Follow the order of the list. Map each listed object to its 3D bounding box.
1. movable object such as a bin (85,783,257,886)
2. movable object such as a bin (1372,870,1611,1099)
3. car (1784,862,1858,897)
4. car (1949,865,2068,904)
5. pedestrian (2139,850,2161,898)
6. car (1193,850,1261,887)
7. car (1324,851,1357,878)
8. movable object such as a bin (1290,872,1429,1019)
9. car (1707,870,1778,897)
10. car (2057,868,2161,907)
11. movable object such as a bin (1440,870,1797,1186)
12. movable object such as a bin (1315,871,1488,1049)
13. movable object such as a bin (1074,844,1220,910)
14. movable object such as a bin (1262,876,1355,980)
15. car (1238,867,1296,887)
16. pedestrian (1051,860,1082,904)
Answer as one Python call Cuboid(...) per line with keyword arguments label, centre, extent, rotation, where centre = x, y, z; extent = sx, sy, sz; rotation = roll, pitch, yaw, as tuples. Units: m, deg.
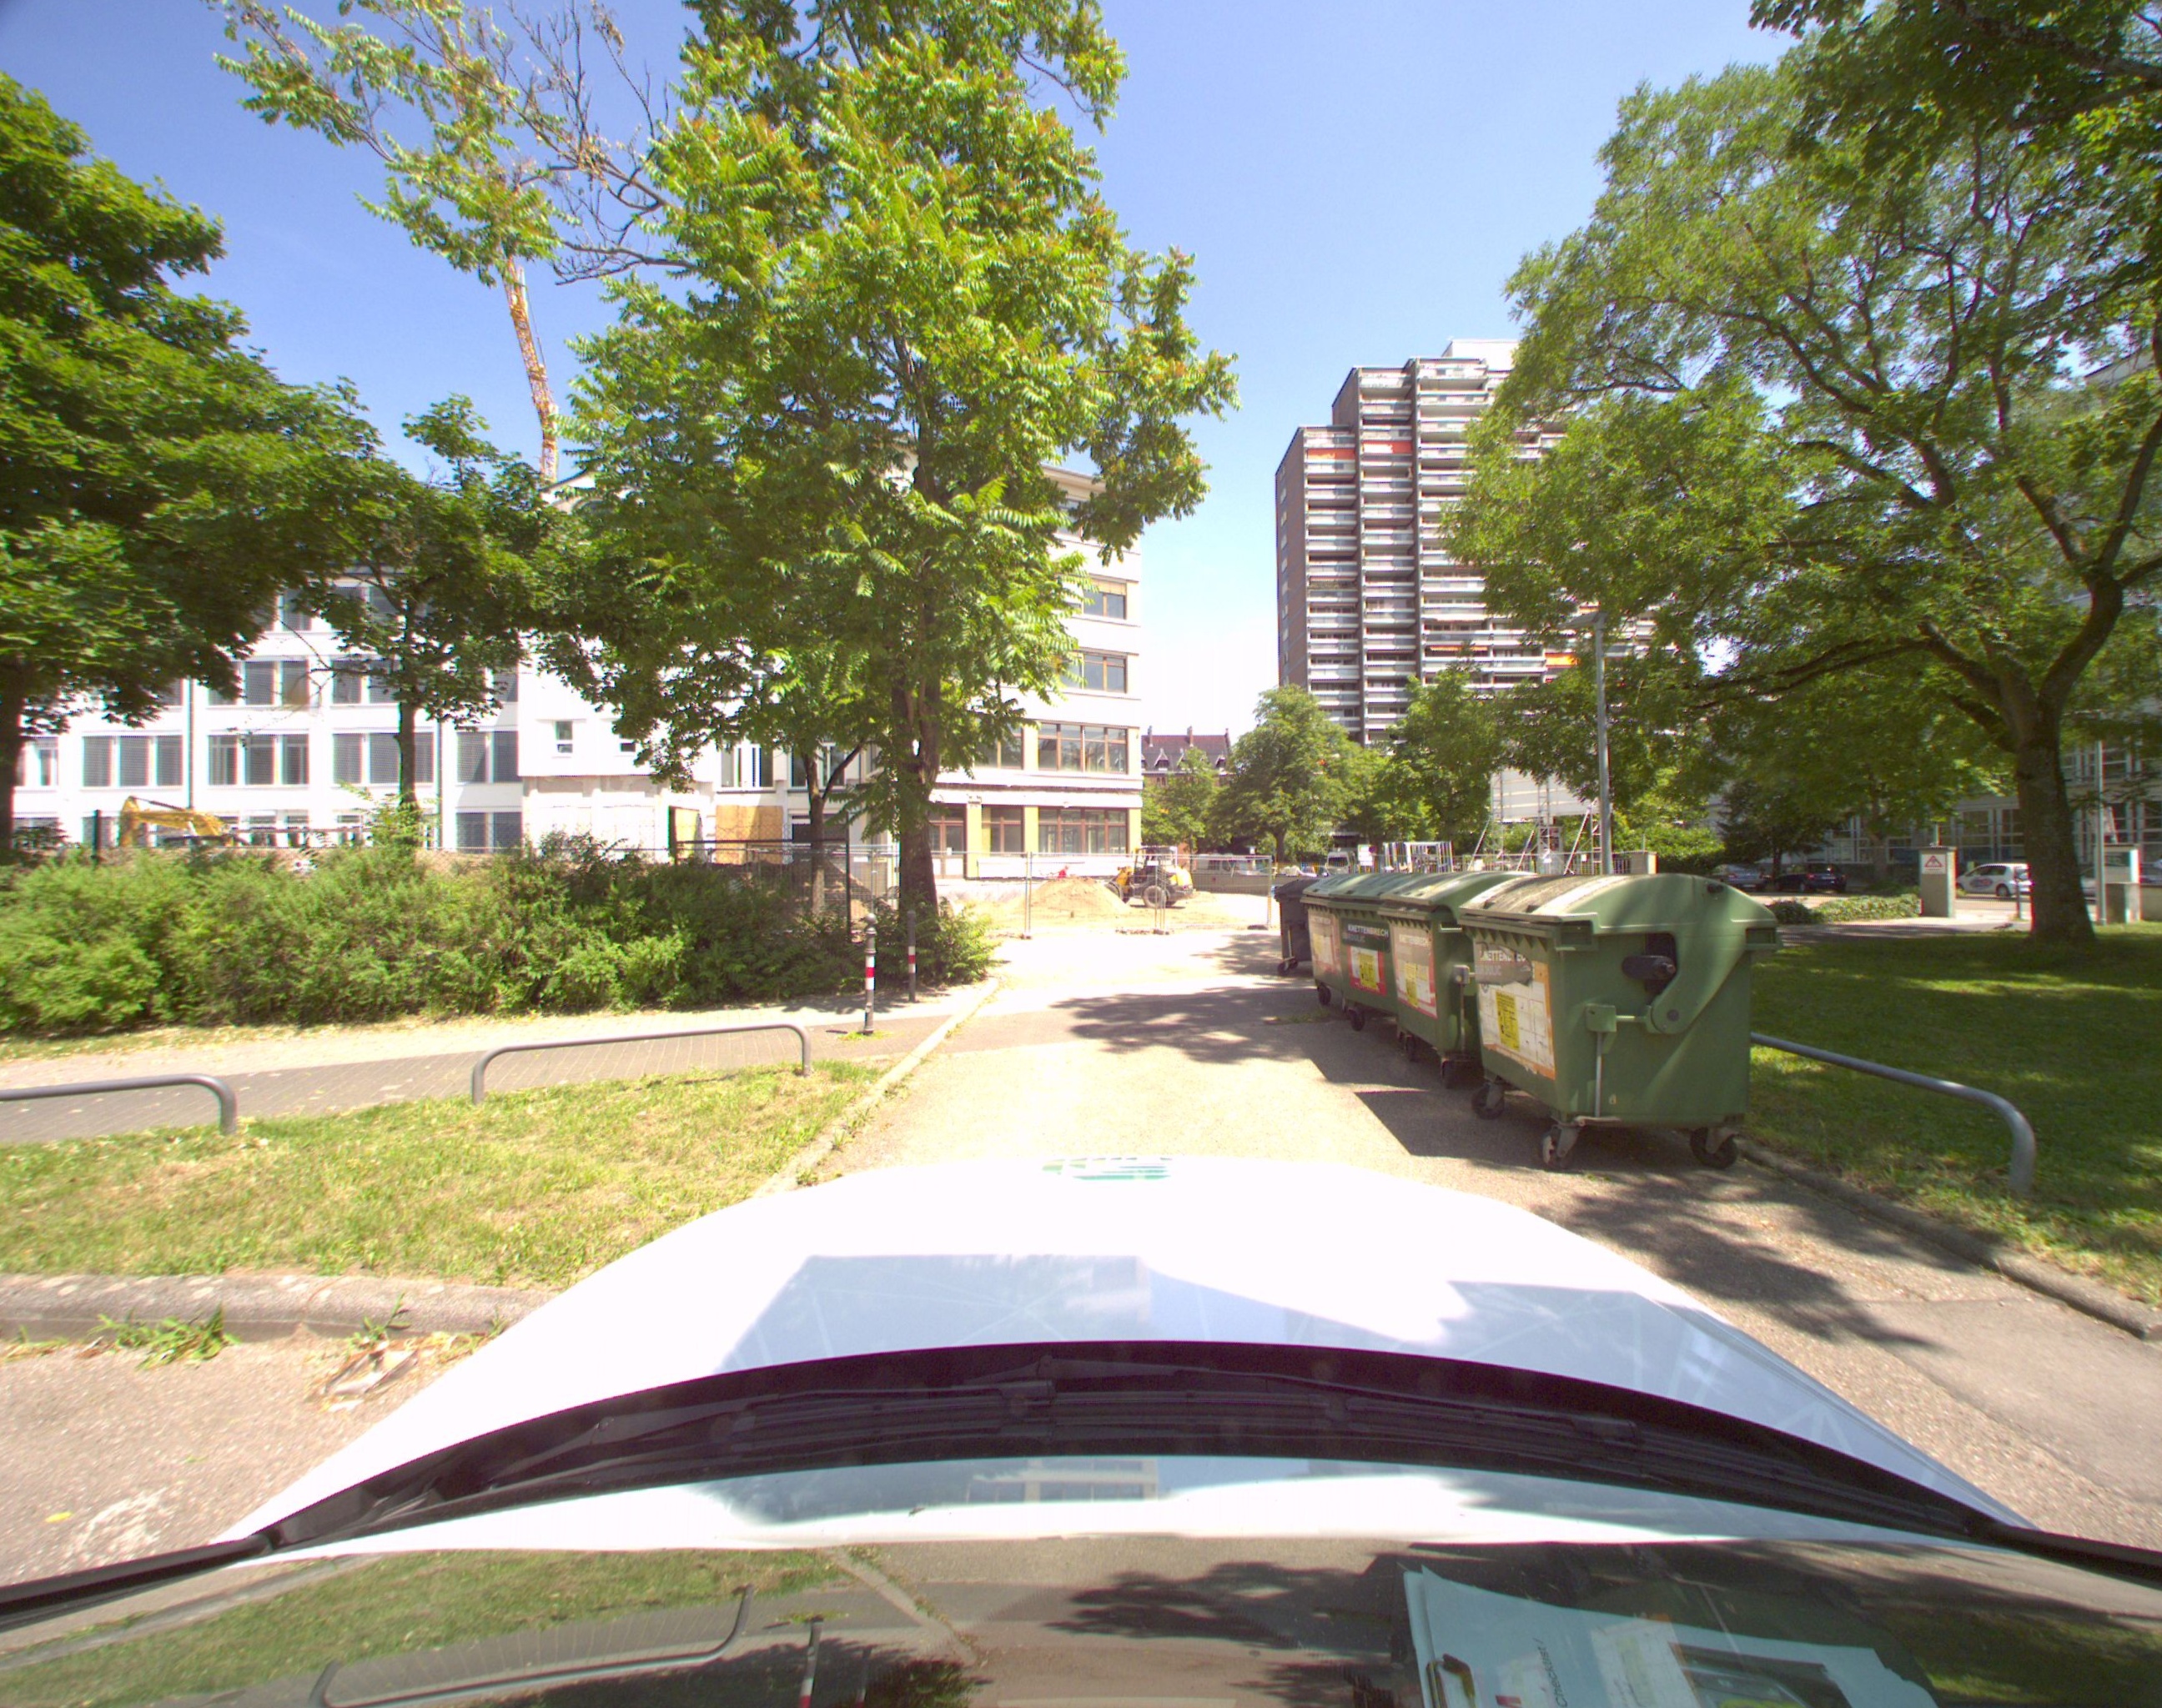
Cuboid(label="movable object such as a bin", centre=(-40.055, -0.808, 35.921), extent=(5.676, 4.373, 2.003), rotation=(-1, -2, 5))
Cuboid(label="movable object such as a bin", centre=(2.884, 0.854, 5.928), extent=(1.071, 1.458, 1.378), rotation=(-1, -1, 3))
Cuboid(label="car", centre=(36.610, 1.230, 40.405), extent=(1.992, 1.629, 3.955), rotation=(-1, -2, 32))
Cuboid(label="car", centre=(39.473, 1.268, 34.787), extent=(1.651, 1.590, 3.709), rotation=(-1, -1, 17))
Cuboid(label="pedestrian", centre=(45.116, 0.826, 33.878), extent=(0.988, 2.014, 0.878), rotation=(-1, -2, 6))
Cuboid(label="car", centre=(10.224, 1.036, 57.418), extent=(2.004, 2.416, 5.197), rotation=(0, -2, -27))
Cuboid(label="car", centre=(22.047, 0.906, 69.050), extent=(2.165, 2.258, 4.895), rotation=(-1, -1, 24))
Cuboid(label="movable object such as a bin", centre=(2.957, 0.932, 8.821), extent=(1.071, 1.458, 1.378), rotation=(-1, -1, 3))
Cuboid(label="car", centre=(34.875, 1.529, 43.051), extent=(1.897, 1.310, 3.952), rotation=(-1, -1, 24))
Cuboid(label="car", centre=(40.625, 1.278, 31.765), extent=(1.650, 1.415, 3.730), rotation=(-1, -1, 21))
Cuboid(label="movable object such as a bin", centre=(2.801, 0.824, 4.486), extent=(1.071, 1.458, 1.378), rotation=(-1, -1, 3))
Cuboid(label="movable object such as a bin", centre=(2.838, 0.887, 7.403), extent=(1.071, 1.458, 1.378), rotation=(-1, -1, 3))
Cuboid(label="movable object such as a bin", centre=(2.673, 0.879, 33.161), extent=(5.352, 2.464, 2.382), rotation=(1, -1, 28))
Cuboid(label="movable object such as a bin", centre=(3.396, 1.077, 12.316), extent=(1.071, 1.458, 1.378), rotation=(-1, -1, 3))
Cuboid(label="car", centre=(13.810, 1.734, 60.752), extent=(1.677, 1.438, 4.645), rotation=(0, -1, -26))
Cuboid(label="pedestrian", centre=(-0.609, 1.172, 34.457), extent=(0.974, 1.847, 0.922), rotation=(-1, -2, 24))
